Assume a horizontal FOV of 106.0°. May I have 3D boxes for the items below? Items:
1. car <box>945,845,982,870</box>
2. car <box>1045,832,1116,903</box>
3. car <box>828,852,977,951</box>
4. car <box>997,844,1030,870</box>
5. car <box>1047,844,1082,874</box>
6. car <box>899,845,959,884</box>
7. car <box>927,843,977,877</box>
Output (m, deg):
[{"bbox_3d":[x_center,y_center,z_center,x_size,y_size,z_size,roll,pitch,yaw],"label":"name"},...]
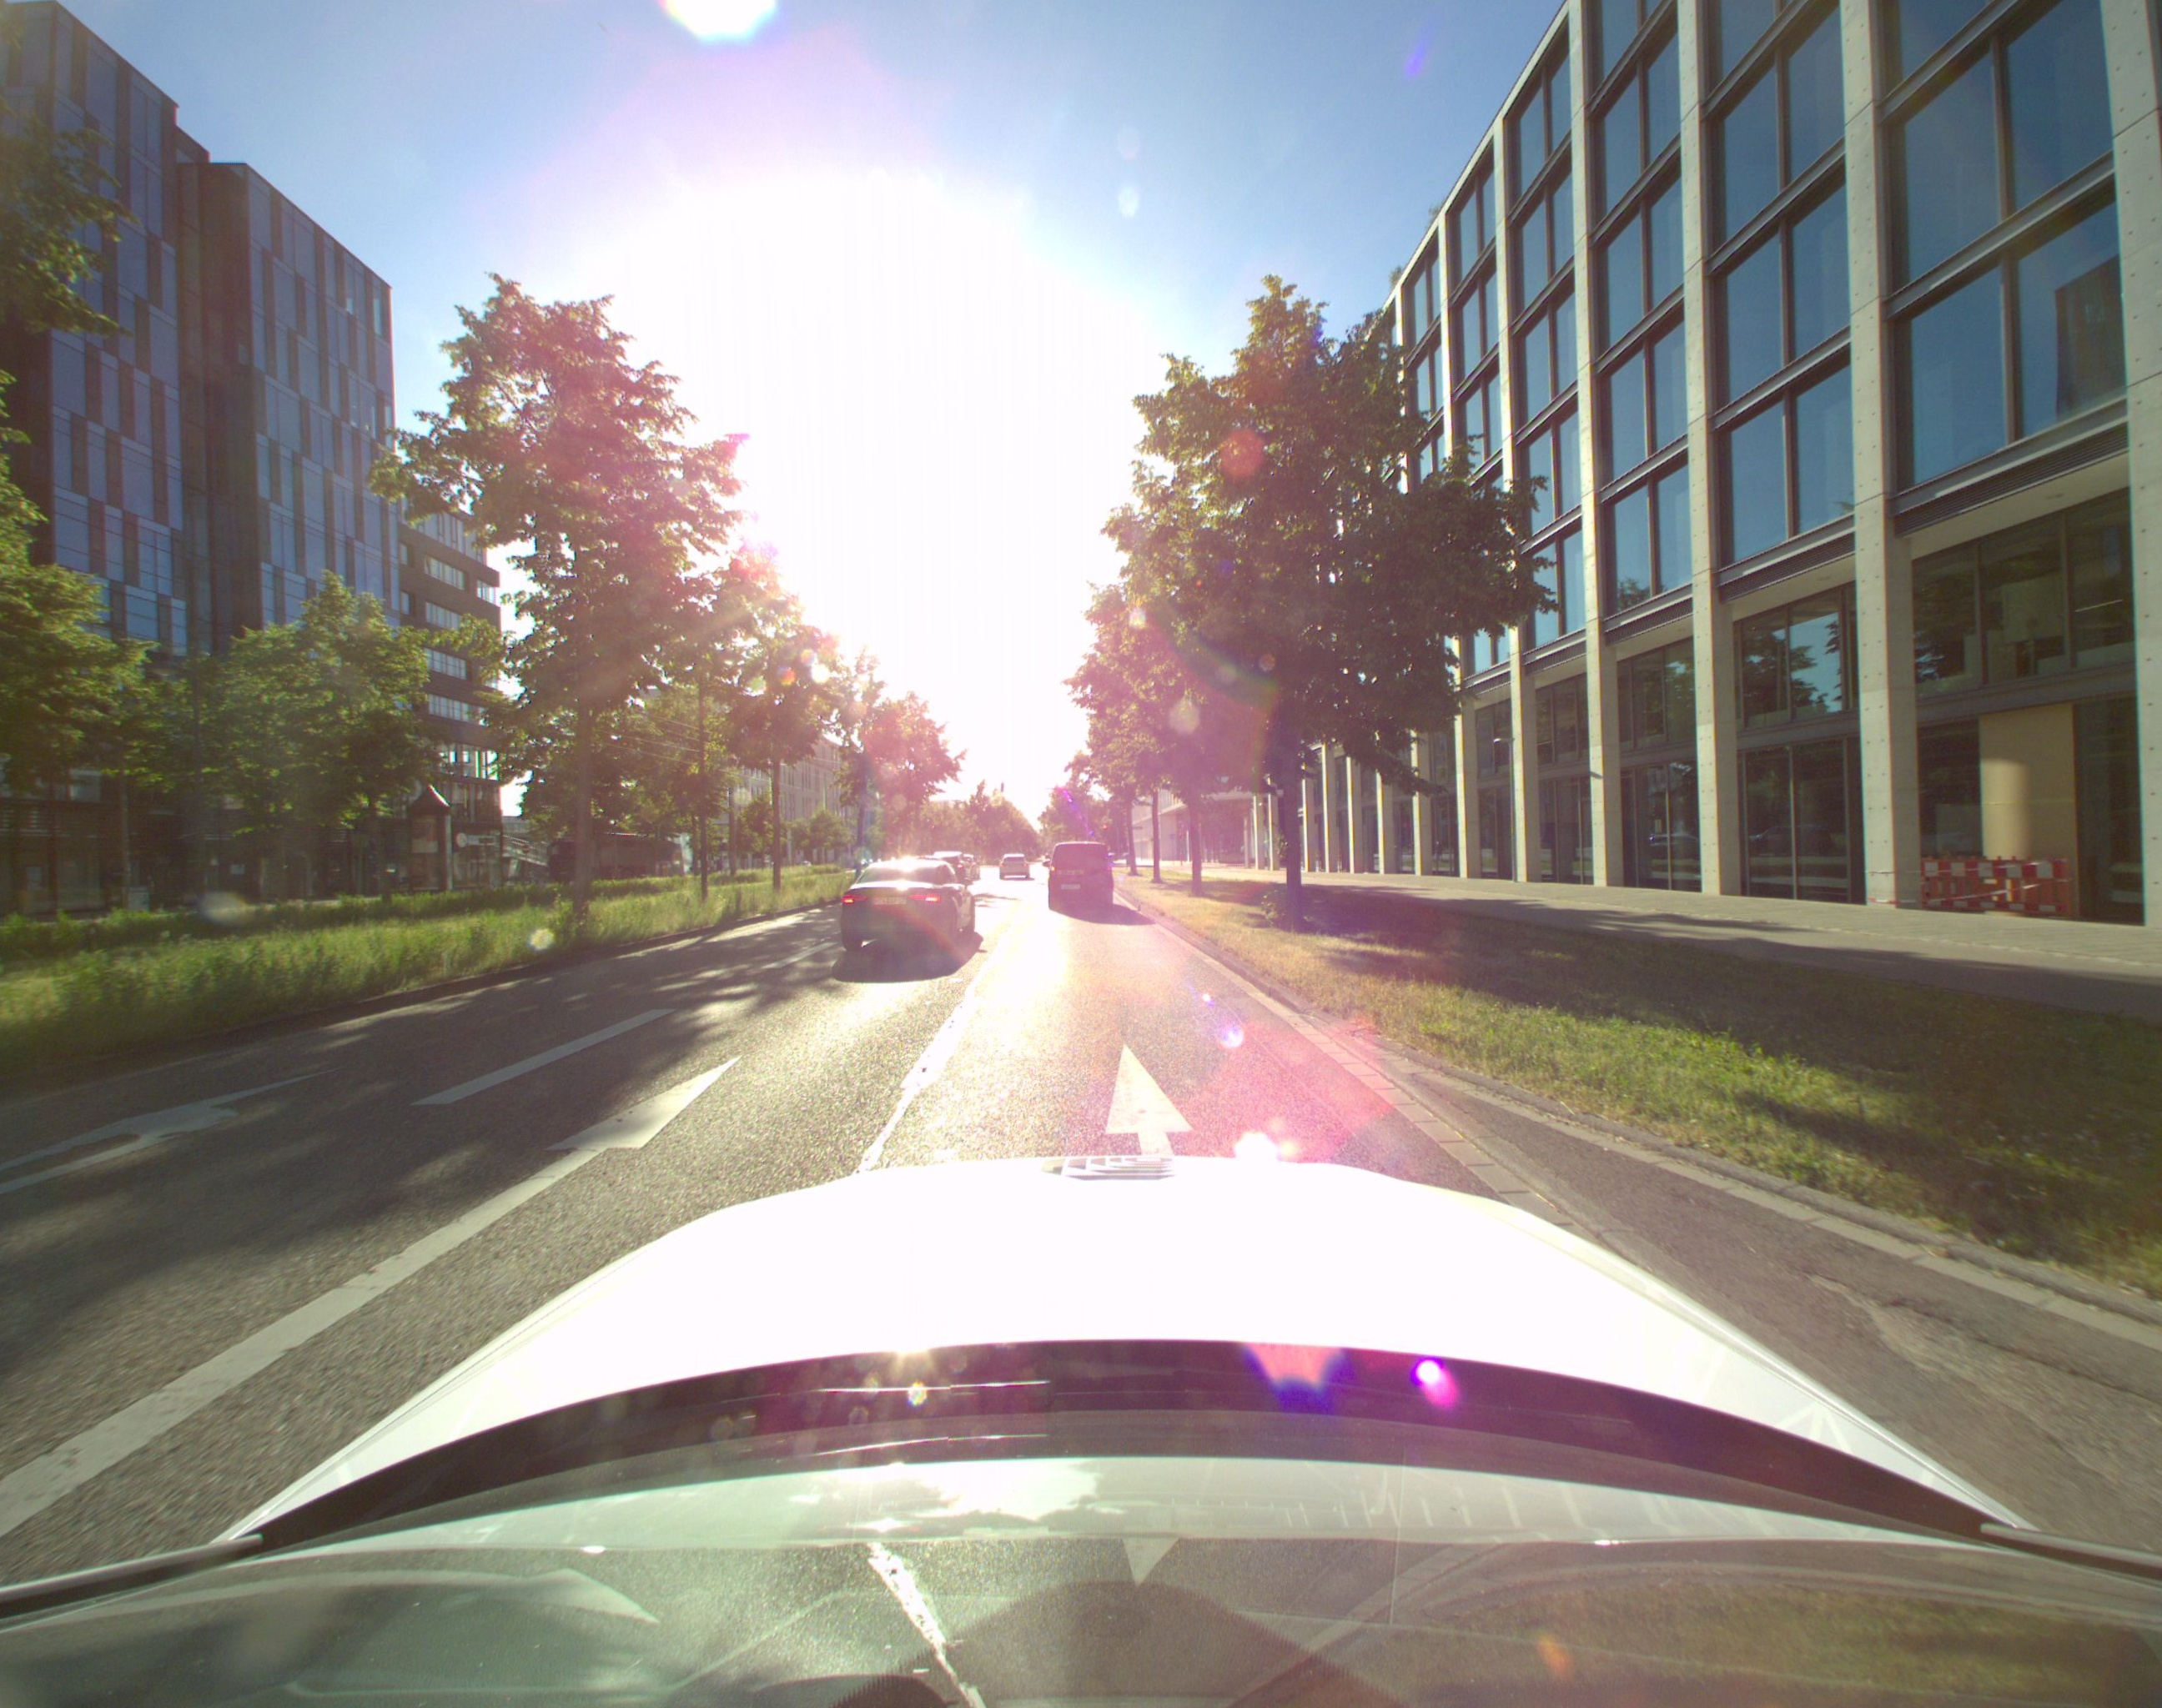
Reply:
[{"bbox_3d":[-6.947,0.184,48.484,1.710,1.398,3.998,-2,1,-2],"label":"car"},{"bbox_3d":[-0.041,0.304,23.182,1.792,1.776,3.999,-2,1,-1],"label":"car"},{"bbox_3d":[-2.868,0.685,14.002,1.716,1.366,4.143,-1,1,-2],"label":"car"},{"bbox_3d":[-3.936,0.146,47.984,1.716,1.425,3.814,-2,1,-2],"label":"car"},{"bbox_3d":[-0.862,0.214,41.581,1.717,1.425,3.814,0,2,-2],"label":"car"},{"bbox_3d":[-6.287,0.383,34.010,1.938,1.441,3.995,-2,1,-4],"label":"car"},{"bbox_3d":[-6.371,0.262,40.558,1.837,1.534,3.939,-2,1,-1],"label":"car"}]
